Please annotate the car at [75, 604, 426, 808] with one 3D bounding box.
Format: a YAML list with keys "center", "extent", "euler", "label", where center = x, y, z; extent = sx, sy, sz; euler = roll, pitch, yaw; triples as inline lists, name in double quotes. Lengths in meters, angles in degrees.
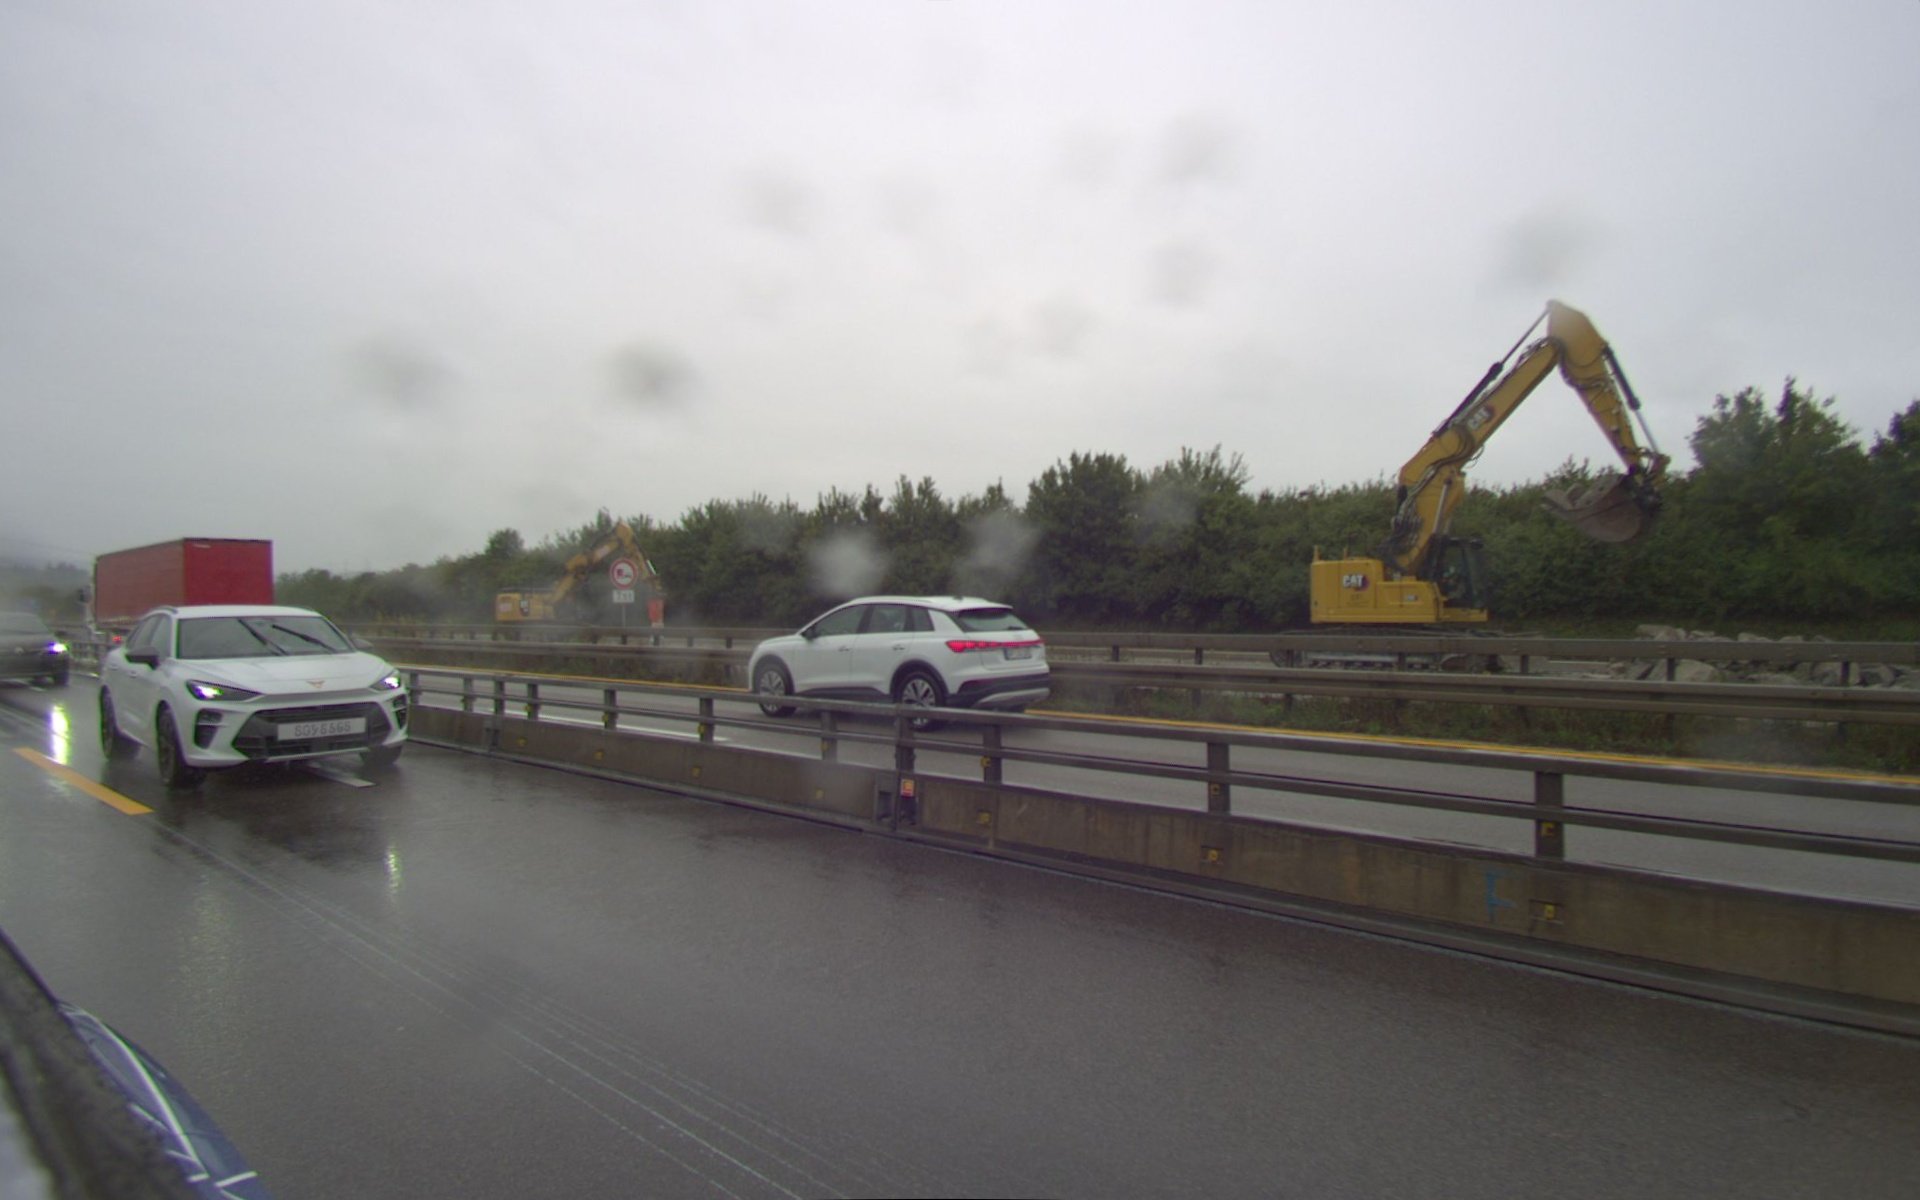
- center: [-7.380, 0.851, 10.285]
  extent: [5.006, 1.562, 1.907]
  euler: [-1, 0, 43]
  label: "car"

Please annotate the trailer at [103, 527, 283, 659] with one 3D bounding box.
- center: [-28.916, -0.142, 37.870]
  extent: [11.051, 4.327, 2.946]
  euler: [-1, -2, 40]
  label: "trailer"

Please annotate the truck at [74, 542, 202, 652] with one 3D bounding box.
- center: [-35.034, -0.065, 43.069]
  extent: [6.795, 4.304, 2.977]
  euler: [-1, -2, 40]
  label: "truck"

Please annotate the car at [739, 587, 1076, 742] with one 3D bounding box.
- center: [-0.835, 0.712, 13.184]
  extent: [4.541, 1.681, 1.619]
  euler: [-1, 1, 41]
  label: "car"

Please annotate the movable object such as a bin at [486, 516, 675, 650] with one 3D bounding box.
- center: [-18.923, -0.754, 49.959]
  extent: [11.044, 5.959, 4.126]
  euler: [-1, 1, 43]
  label: "movable object such as a bin"

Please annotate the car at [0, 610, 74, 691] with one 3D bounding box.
- center: [-21.478, 1.071, 22.535]
  extent: [5.194, 1.640, 2.042]
  euler: [-1, -1, 42]
  label: "car"

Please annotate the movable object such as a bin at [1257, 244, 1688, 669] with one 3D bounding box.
- center: [11.682, -2.777, 23.688]
  extent: [8.307, 8.204, 3.558]
  euler: [-1, 1, 43]
  label: "movable object such as a bin"
